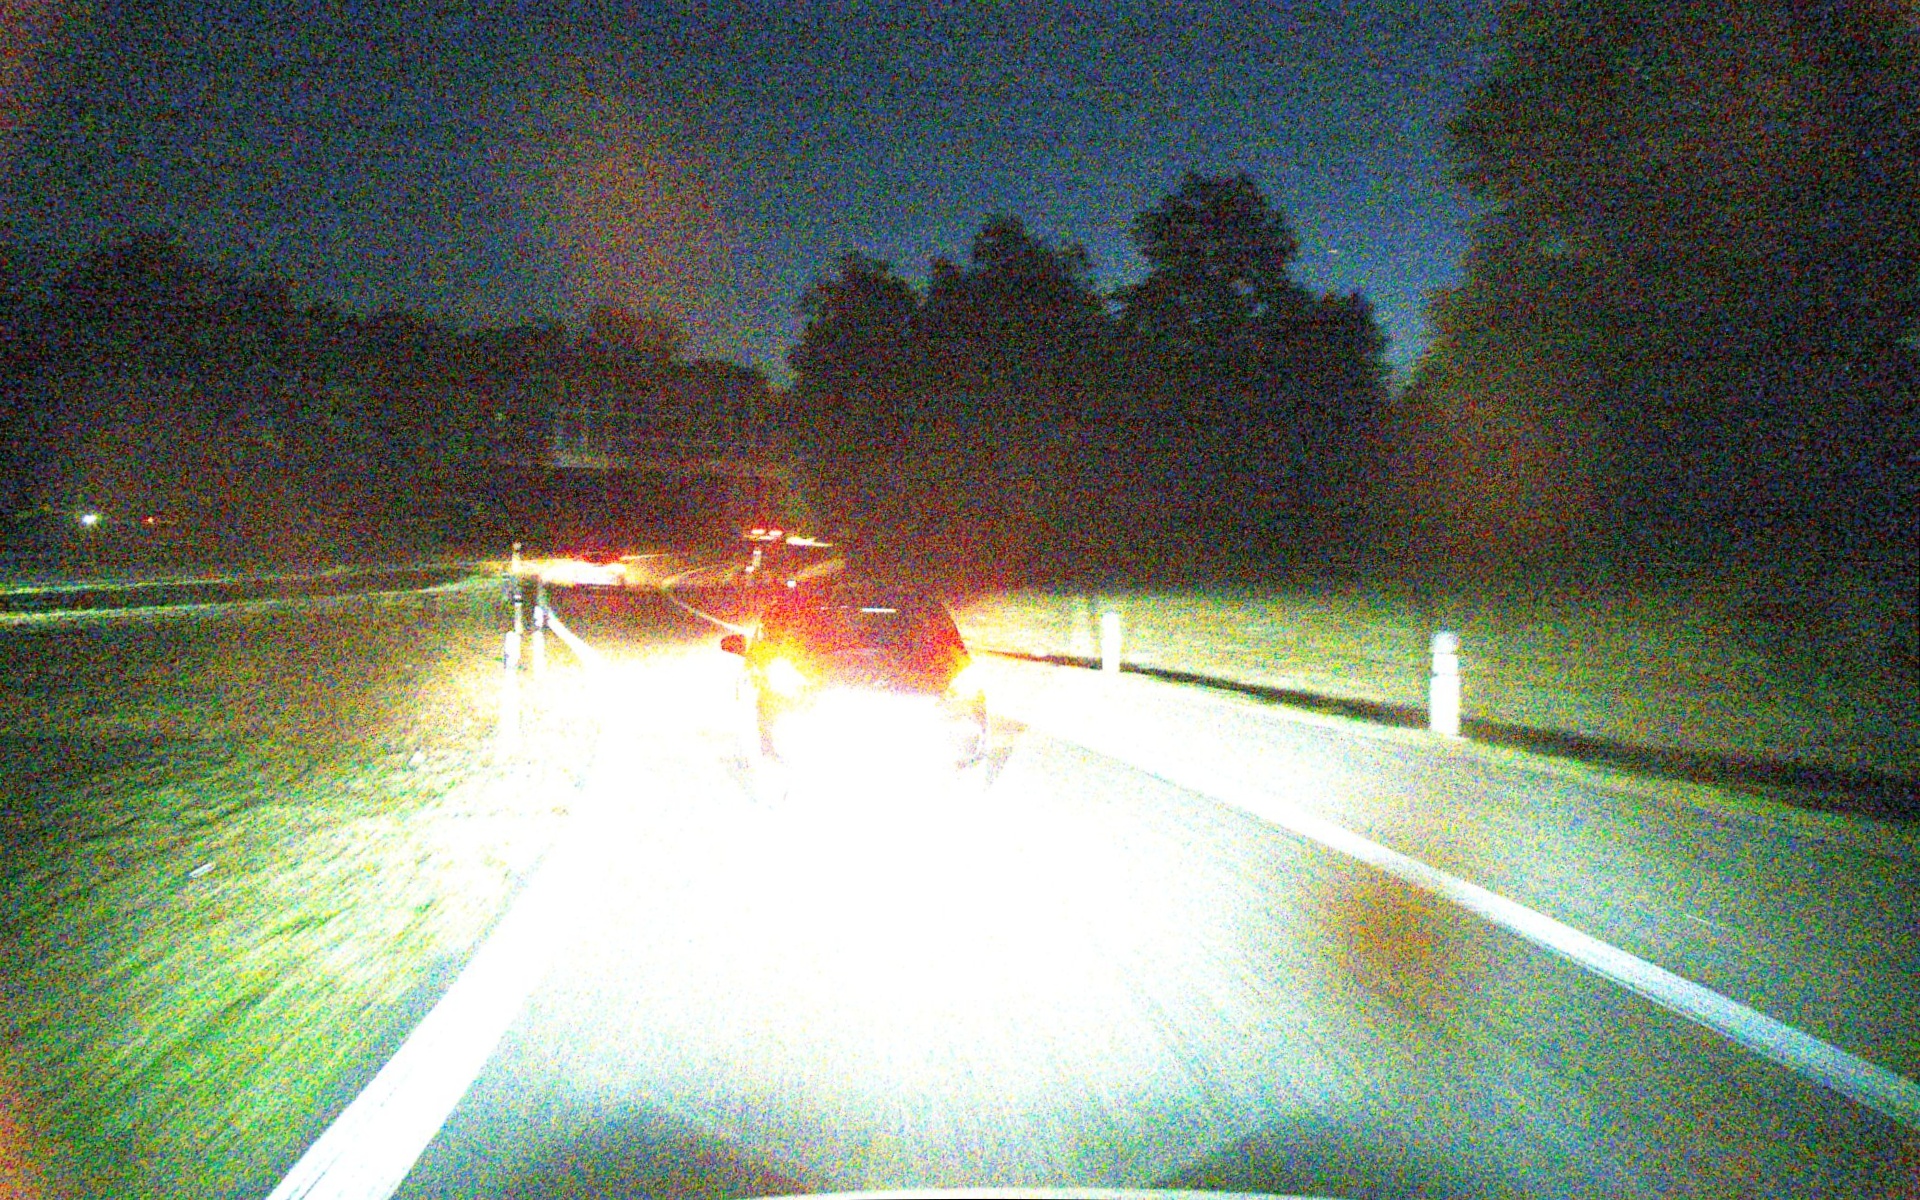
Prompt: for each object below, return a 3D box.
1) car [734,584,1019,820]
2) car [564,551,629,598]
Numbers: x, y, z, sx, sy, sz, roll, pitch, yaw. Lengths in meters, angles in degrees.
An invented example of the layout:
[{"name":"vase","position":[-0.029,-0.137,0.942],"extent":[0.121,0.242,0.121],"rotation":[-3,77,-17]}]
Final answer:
[{"name":"car","position":[-0.794,0.647,12.686],"extent":[1.661,1.503,3.989],"rotation":[0,0,-11]},{"name":"car","position":[-12.786,-0.919,58.041],"extent":[1.920,1.564,4.222],"rotation":[-1,1,-16]}]
